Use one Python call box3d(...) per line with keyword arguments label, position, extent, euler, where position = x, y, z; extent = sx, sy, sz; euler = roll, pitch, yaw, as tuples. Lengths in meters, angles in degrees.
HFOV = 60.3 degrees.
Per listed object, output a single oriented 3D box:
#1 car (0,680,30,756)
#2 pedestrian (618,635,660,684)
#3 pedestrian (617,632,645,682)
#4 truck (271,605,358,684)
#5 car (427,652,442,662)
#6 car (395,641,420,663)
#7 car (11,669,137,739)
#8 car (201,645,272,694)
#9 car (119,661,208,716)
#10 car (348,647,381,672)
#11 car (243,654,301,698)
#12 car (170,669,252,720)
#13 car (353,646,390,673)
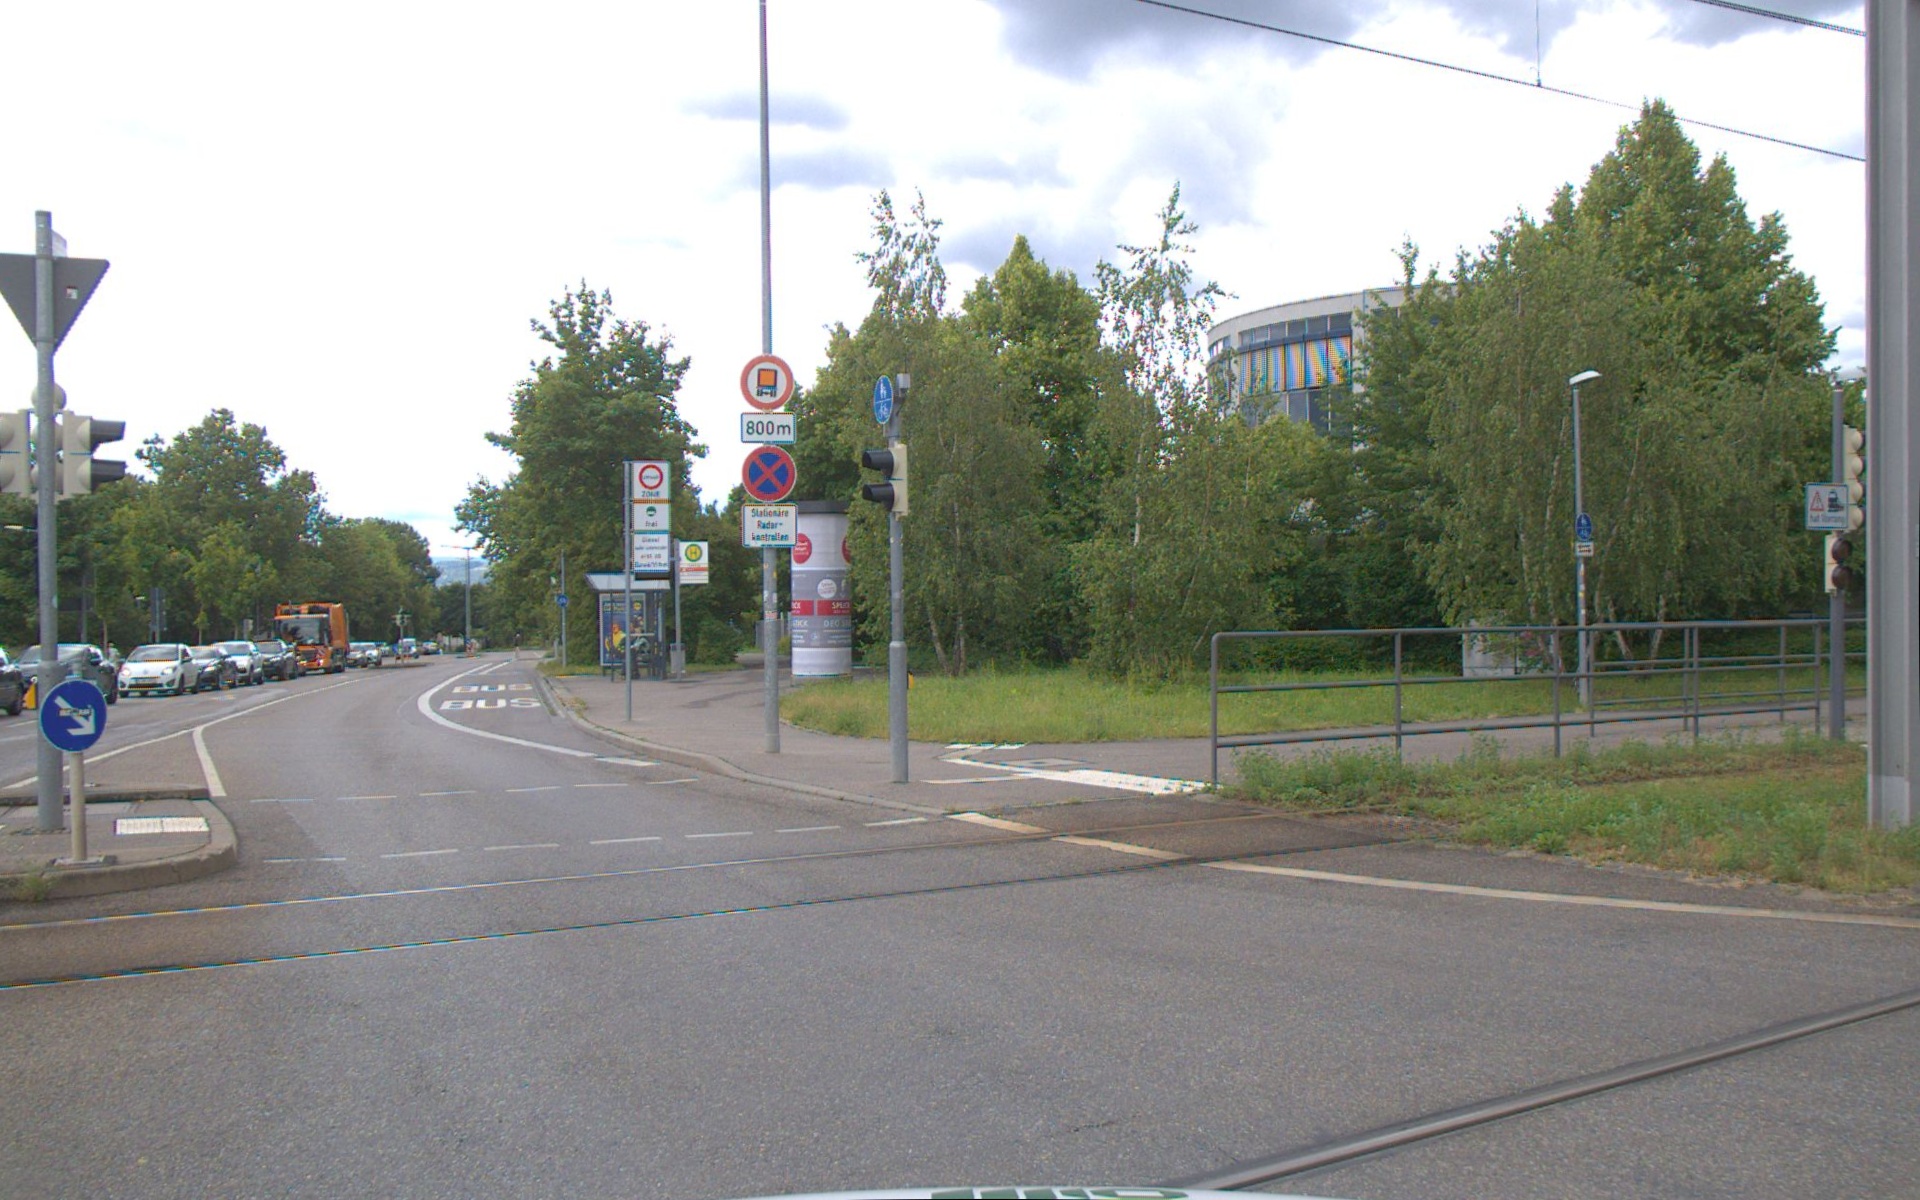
box3d(label="car", position=(-18.609, 2.227, 30.272), extent=(1.770, 1.355, 4.360), euler=(-2, -1, -16))
box3d(label="pedestrian", position=(-8.532, 1.574, 43.969), extent=(0.756, 1.274, 0.774), euler=(-2, -1, 33))
box3d(label="pedestrian", position=(-8.986, 1.562, 45.171), extent=(0.715, 1.339, 0.587), euler=(-1, -1, -13))
box3d(label="truck", position=(-31.821, 2.172, 81.868), extent=(2.660, 3.548, 9.956), euler=(-2, -1, -14))
box3d(label="car", position=(-72.426, 7.892, 227.797), extent=(1.742, 1.327, 3.983), euler=(-2, -1, -15))
box3d(label="car", position=(-50.171, 4.722, 150.342), extent=(1.817, 1.835, 4.630), euler=(-4, -1, -16))
box3d(label="car", position=(-20.099, 2.321, 37.688), extent=(1.612, 1.355, 4.044), euler=(-2, -1, -15))
box3d(label="car", position=(-26.213, 2.501, 60.015), extent=(1.702, 1.613, 4.206), euler=(-2, -1, -15))
box3d(label="car", position=(-22.975, 2.529, 47.836), extent=(1.612, 1.415, 3.747), euler=(-2, -1, -15))
box3d(label="car", position=(-35.690, 3.554, 99.170), extent=(1.522, 1.354, 3.638), euler=(-4, -1, -15))
box3d(label="car", position=(-28.000, 3.073, 67.402), extent=(1.612, 1.613, 4.044), euler=(-2, -1, -15))
box3d(label="car", position=(-24.293, 3.038, 53.799), extent=(1.612, 1.415, 4.865), euler=(-2, -1, -15))
box3d(label="car", position=(-37.939, 3.828, 106.636), extent=(1.817, 1.547, 4.794), euler=(-4, -1, -16))
